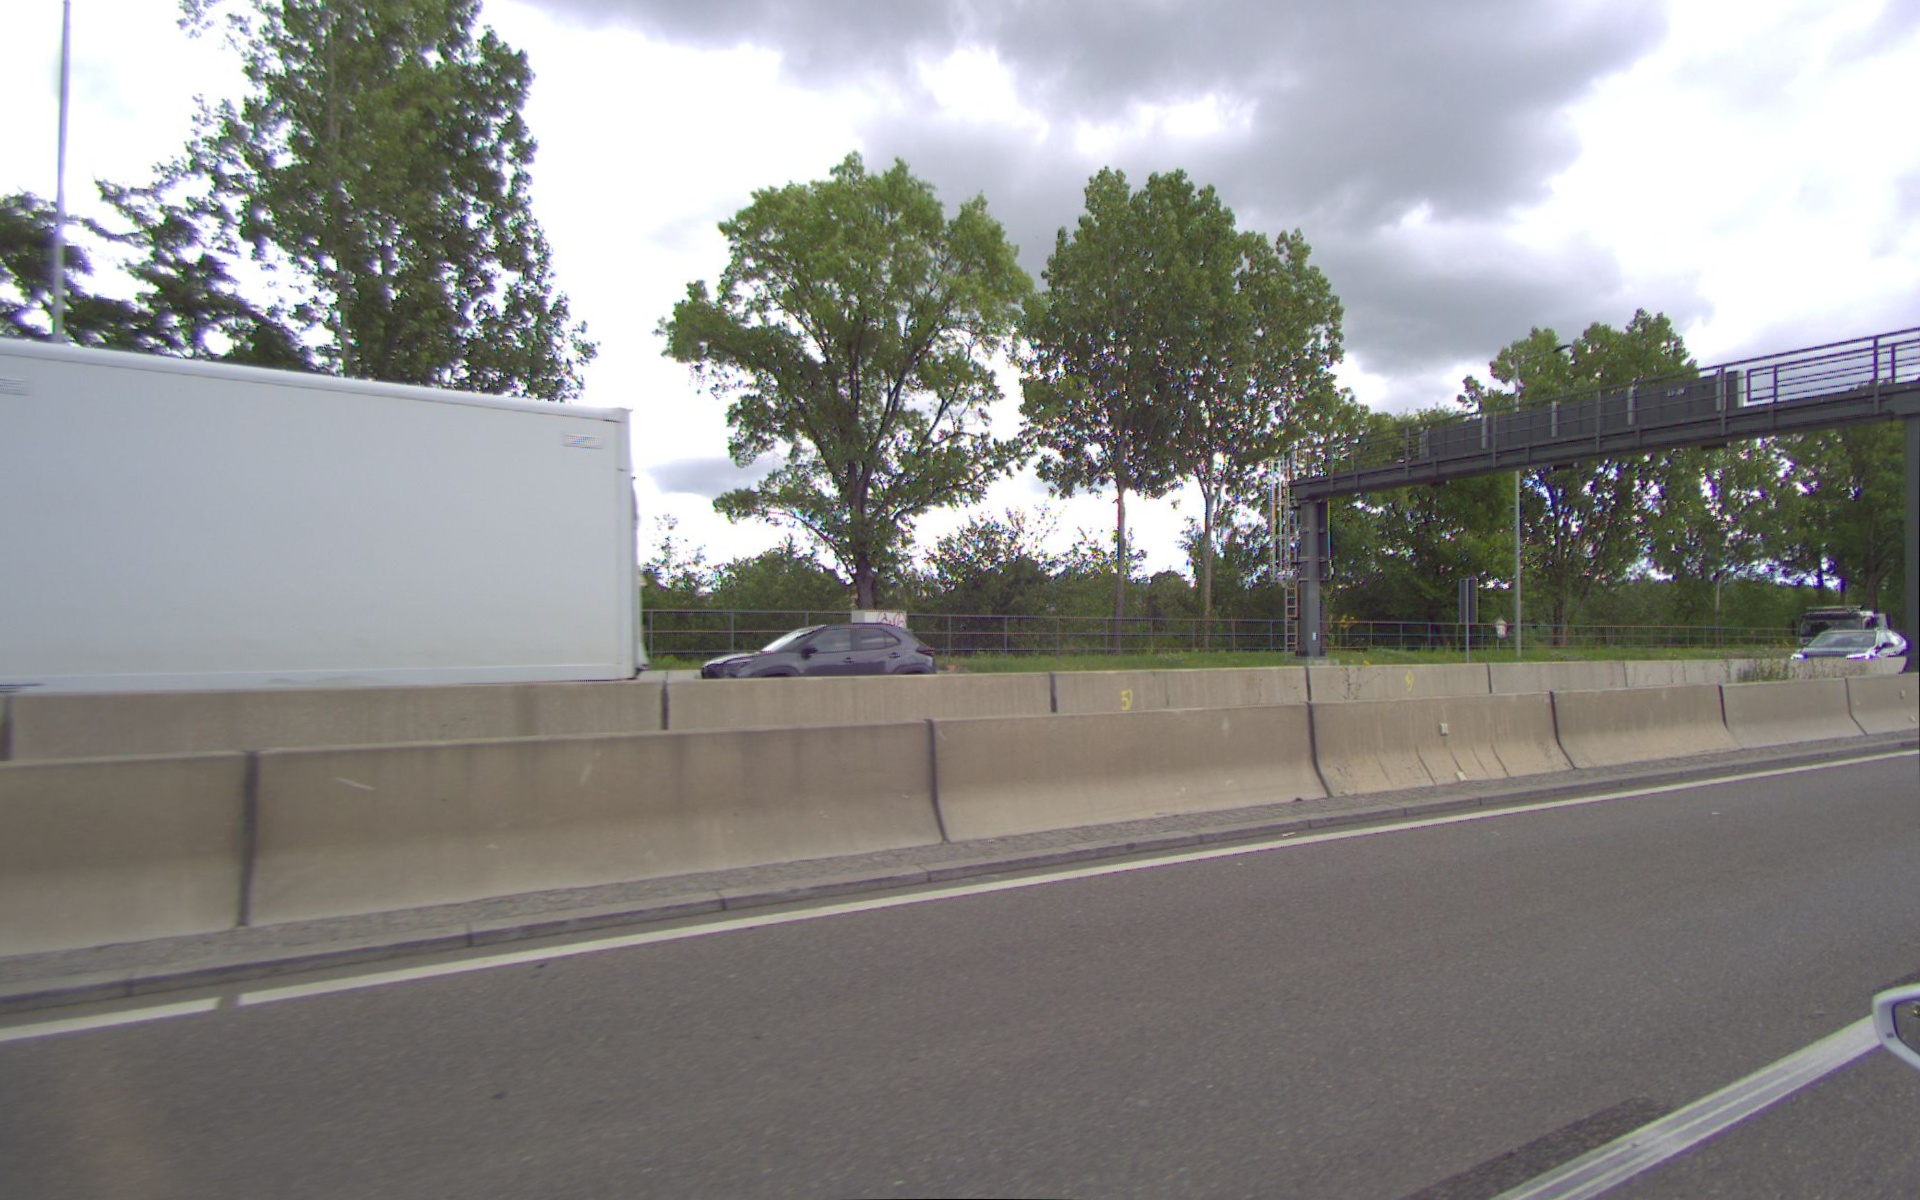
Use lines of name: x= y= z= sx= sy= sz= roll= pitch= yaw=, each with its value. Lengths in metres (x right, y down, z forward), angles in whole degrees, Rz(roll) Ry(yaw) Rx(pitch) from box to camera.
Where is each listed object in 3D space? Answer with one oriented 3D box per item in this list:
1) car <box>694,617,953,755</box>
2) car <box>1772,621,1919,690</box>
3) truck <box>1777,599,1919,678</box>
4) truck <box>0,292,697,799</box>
car: x=-2.317 y=1.358 z=17.307 sx=3.959 sy=2.040 sz=1.981 roll=1 pitch=1 yaw=-34
car: x=23.888 y=1.441 z=26.854 sx=4.402 sy=1.639 sz=1.917 roll=1 pitch=1 yaw=-30
truck: x=42.429 y=1.687 z=45.864 sx=15.704 sy=3.149 sz=2.839 roll=1 pitch=1 yaw=-31
truck: x=-5.900 y=-0.343 z=7.698 sx=7.121 sy=3.149 sz=2.391 roll=1 pitch=1 yaw=-32
